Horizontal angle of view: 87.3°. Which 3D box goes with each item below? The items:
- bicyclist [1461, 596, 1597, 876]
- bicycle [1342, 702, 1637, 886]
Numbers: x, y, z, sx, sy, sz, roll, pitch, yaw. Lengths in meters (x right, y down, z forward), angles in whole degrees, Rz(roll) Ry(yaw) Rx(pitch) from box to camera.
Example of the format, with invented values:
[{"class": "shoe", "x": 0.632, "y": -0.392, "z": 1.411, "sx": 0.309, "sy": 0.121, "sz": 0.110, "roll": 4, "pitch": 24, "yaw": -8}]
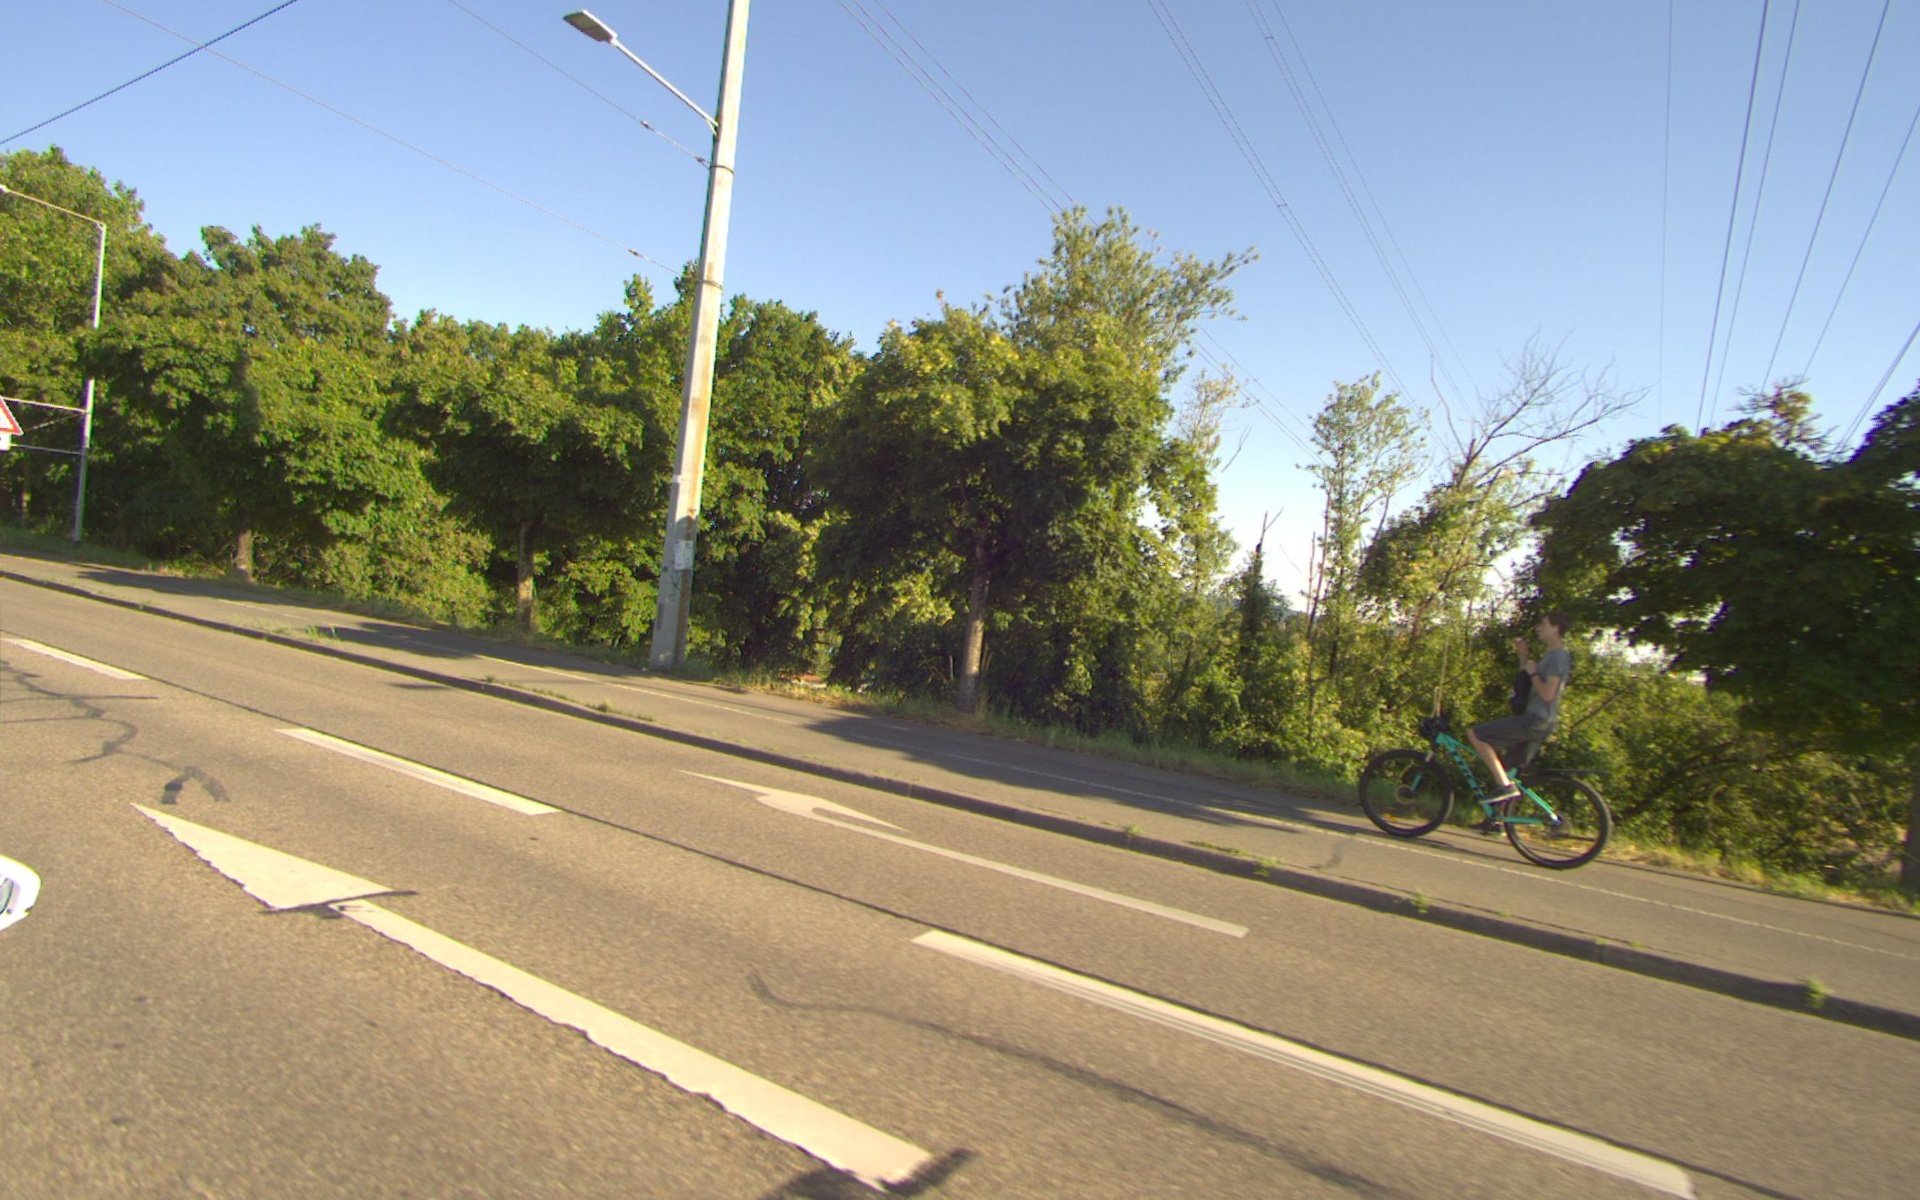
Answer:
[{"class": "bicyclist", "x": 4.481, "y": 1.040, "z": 7.932, "sx": 0.717, "sy": 2.040, "sz": 0.528, "roll": 6, "pitch": -2, "yaw": 32}, {"class": "bicycle", "x": 4.183, "y": 1.494, "z": 8.063, "sx": 1.939, "sy": 1.072, "sz": 0.528, "roll": 6, "pitch": -2, "yaw": 32}]
